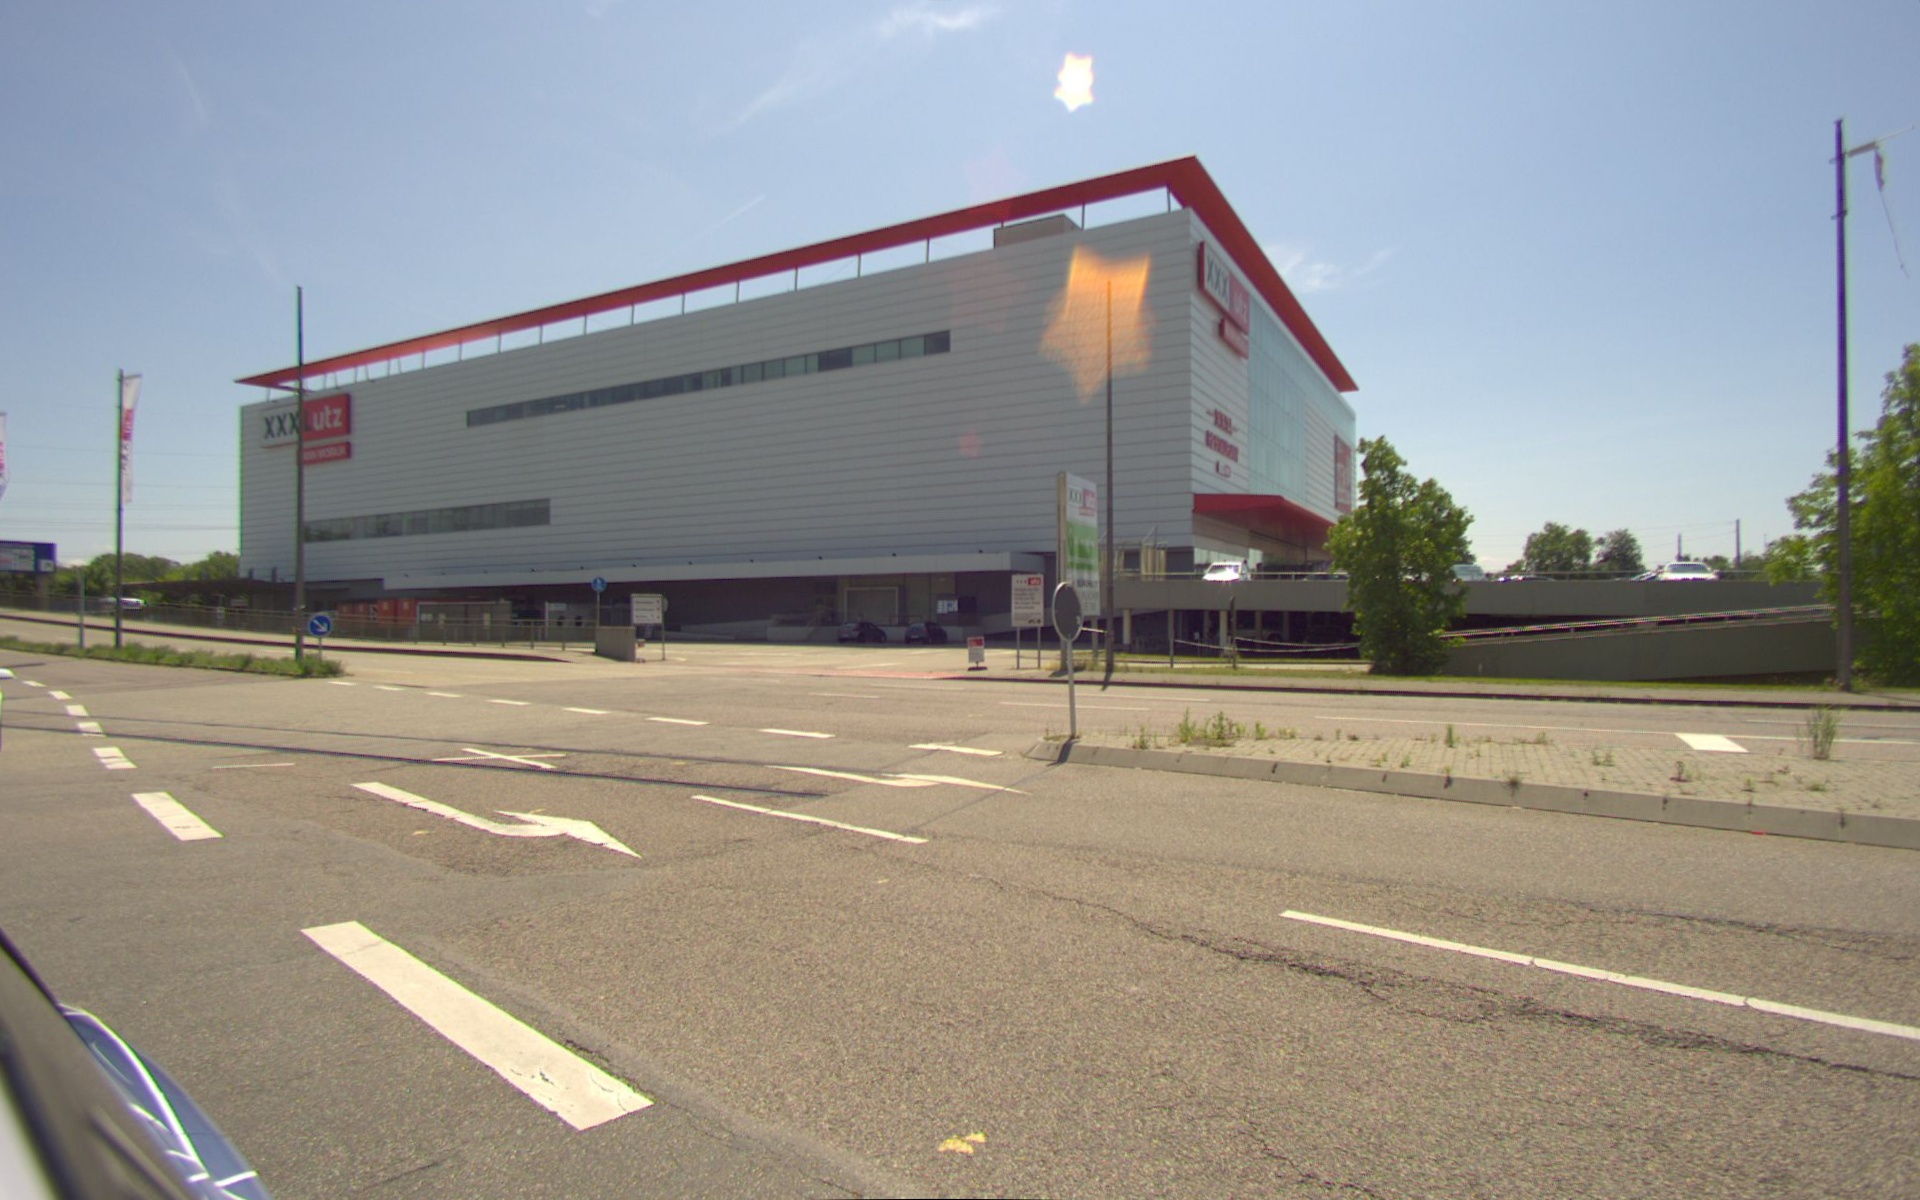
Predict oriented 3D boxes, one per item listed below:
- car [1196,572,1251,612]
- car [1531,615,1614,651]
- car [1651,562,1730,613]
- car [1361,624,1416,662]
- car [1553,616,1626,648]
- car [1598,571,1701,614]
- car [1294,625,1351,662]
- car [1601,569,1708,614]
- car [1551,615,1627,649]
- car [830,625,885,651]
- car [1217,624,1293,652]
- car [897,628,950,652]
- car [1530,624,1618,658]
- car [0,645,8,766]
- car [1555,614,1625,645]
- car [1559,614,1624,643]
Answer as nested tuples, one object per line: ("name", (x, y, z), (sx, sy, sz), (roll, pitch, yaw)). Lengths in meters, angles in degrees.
("car", (12.079, -0.331, 46.302), (1.701, 1.709, 3.448), (0, -1, 28))
("car", (35.300, 1.893, 58.334), (3.989, 2.029, 1.977), (-1, -2, 34))
("car", (27.741, -0.420, 38.556), (1.992, 1.781, 4.158), (-1, -1, 30))
("car", (19.809, 1.960, 46.657), (1.991, 1.651, 3.962), (-1, -1, 28))
("car", (41.409, 2.075, 66.639), (3.987, 2.029, 1.978), (-1, -2, 32))
("car", (34.323, -0.328, 50.516), (3.982, 2.029, 1.981), (-1, -1, 29))
("car", (16.906, 1.983, 47.103), (1.991, 1.626, 3.962), (-1, -1, 28))
("car", (33.240, -0.369, 48.561), (3.982, 2.029, 1.981), (-1, -1, 29))
("car", (39.229, 1.981, 63.188), (3.988, 2.029, 1.978), (-1, -2, 33))
("car", (-6.739, 2.491, 66.871), (1.902, 1.632, 3.715), (-1, -1, 27))
("car", (18.445, 2.324, 63.232), (4.388, 1.701, 1.984), (-1, -1, 24))
("car", (-2.310, 2.524, 64.664), (1.951, 1.507, 3.452), (-1, -1, 29))
("car", (33.088, 2.177, 54.594), (3.987, 1.741, 1.978), (-1, -1, 32))
("car", (-13.663, 1.299, 12.898), (4.405, 1.436, 1.855), (-2, -4, 42))
("car", (43.041, 2.002, 69.243), (3.985, 2.029, 1.979), (-1, -1, 31))
("car", (46.663, 2.091, 74.878), (3.985, 2.029, 1.979), (-1, -1, 31))
